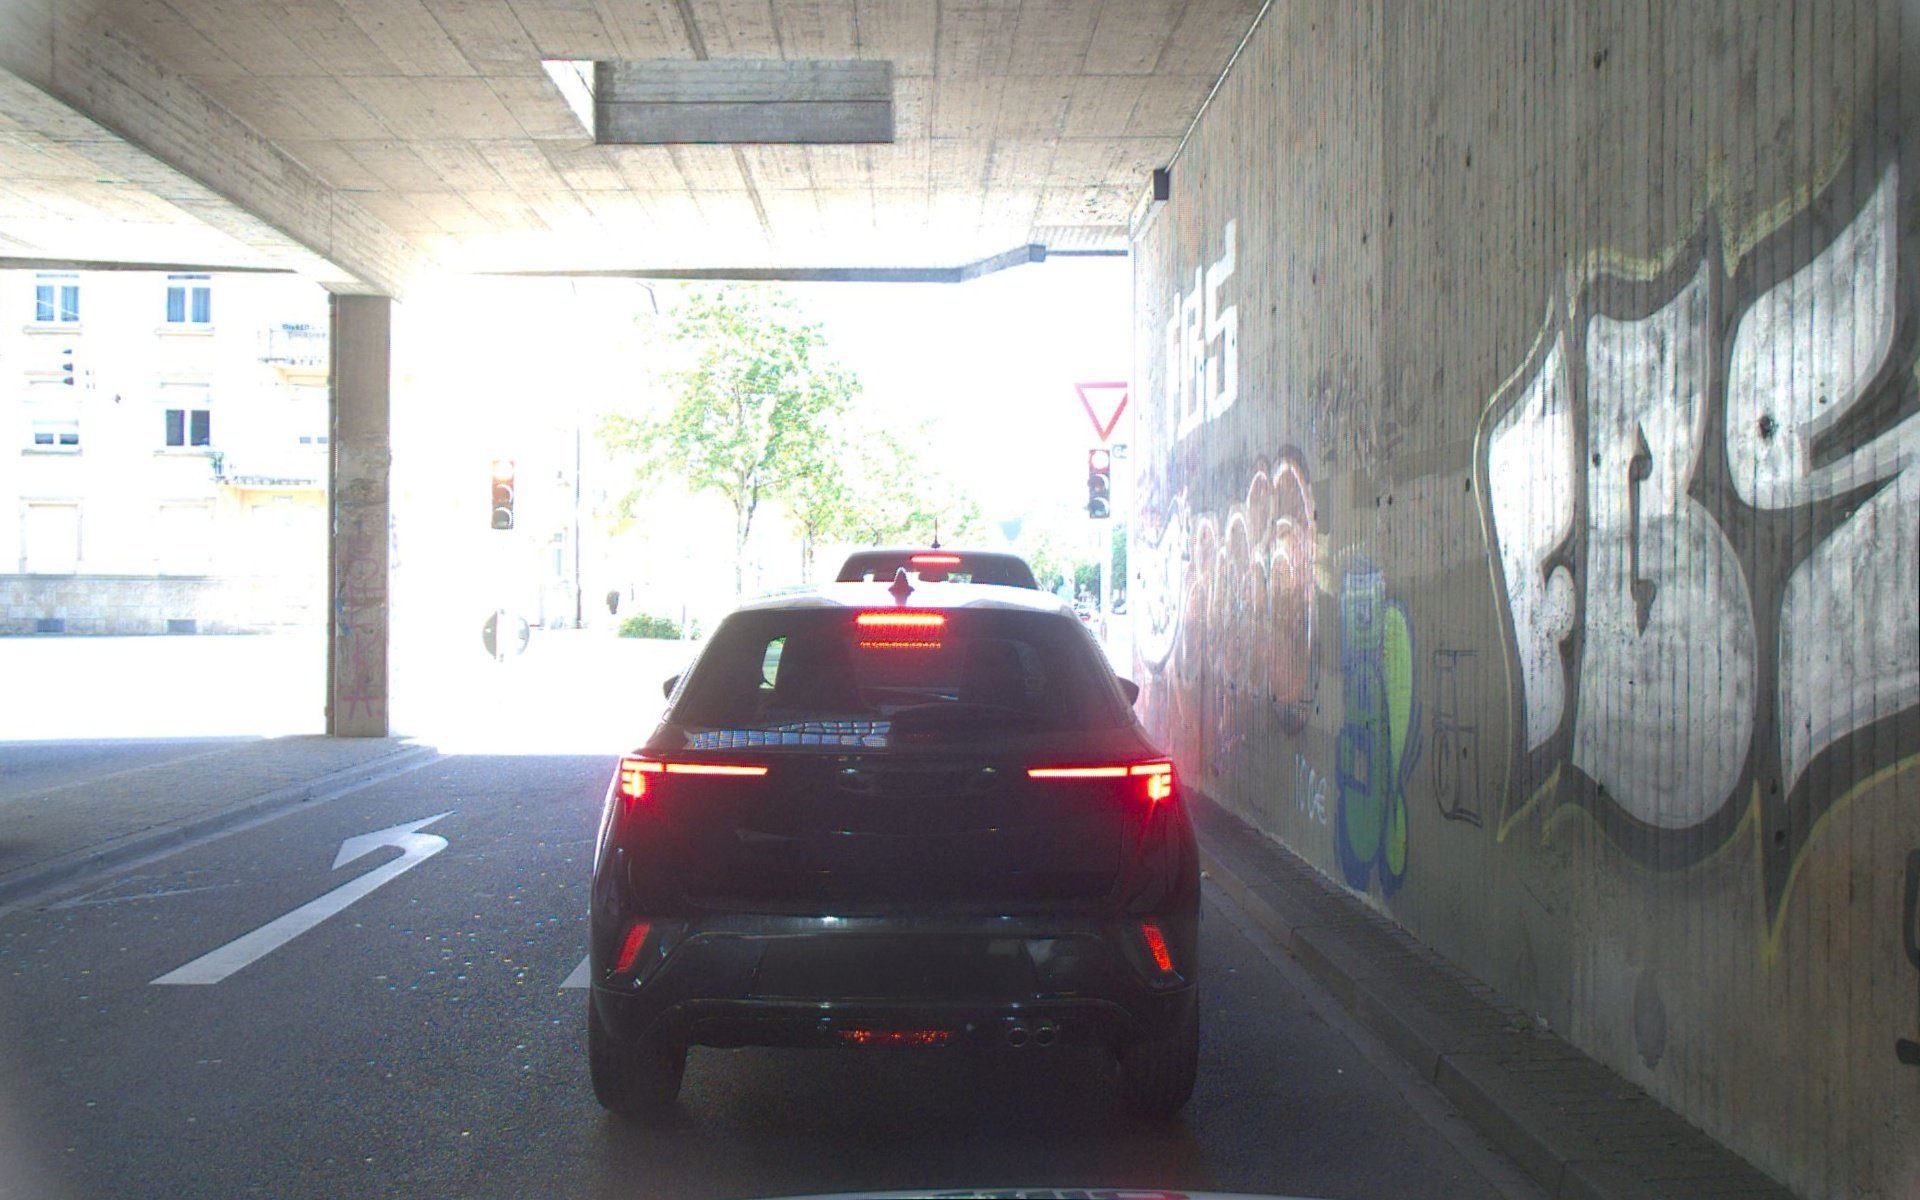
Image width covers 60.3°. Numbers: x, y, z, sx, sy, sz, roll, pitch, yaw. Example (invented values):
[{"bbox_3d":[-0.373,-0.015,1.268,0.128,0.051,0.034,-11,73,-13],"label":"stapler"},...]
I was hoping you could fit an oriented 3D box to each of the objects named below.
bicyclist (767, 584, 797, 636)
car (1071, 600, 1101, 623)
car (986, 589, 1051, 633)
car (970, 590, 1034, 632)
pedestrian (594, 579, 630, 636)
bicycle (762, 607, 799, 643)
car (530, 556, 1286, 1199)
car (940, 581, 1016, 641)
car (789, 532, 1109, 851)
[{"bbox_3d":[-5.538,0.310,51.430,0.713,1.609,0.815,1,-1,9],"label":"bicyclist"},{"bbox_3d":[9.512,0.883,124.392,1.951,1.691,4.003,1,0,8],"label":"car"},{"bbox_3d":[2.465,0.489,69.013,2.173,1.749,4.463,0,-1,9],"label":"car"},{"bbox_3d":[1.621,0.446,62.191,1.926,1.523,3.899,0,-1,8],"label":"car"},{"bbox_3d":[-12.710,0.281,60.363,0.971,2.049,1.089,0,0,7],"label":"pedestrian"},{"bbox_3d":[-5.557,0.775,51.397,0.716,1.086,1.690,1,0,9],"label":"bicycle"},{"bbox_3d":[-0.151,0.670,6.035,1.844,1.565,3.963,0,0,-1],"label":"car"},{"bbox_3d":[0.497,0.339,44.154,1.927,1.523,3.896,0,-1,1],"label":"car"},{"bbox_3d":[-0.092,0.532,11.860,1.906,1.892,3.963,0,0,-1],"label":"car"}]
